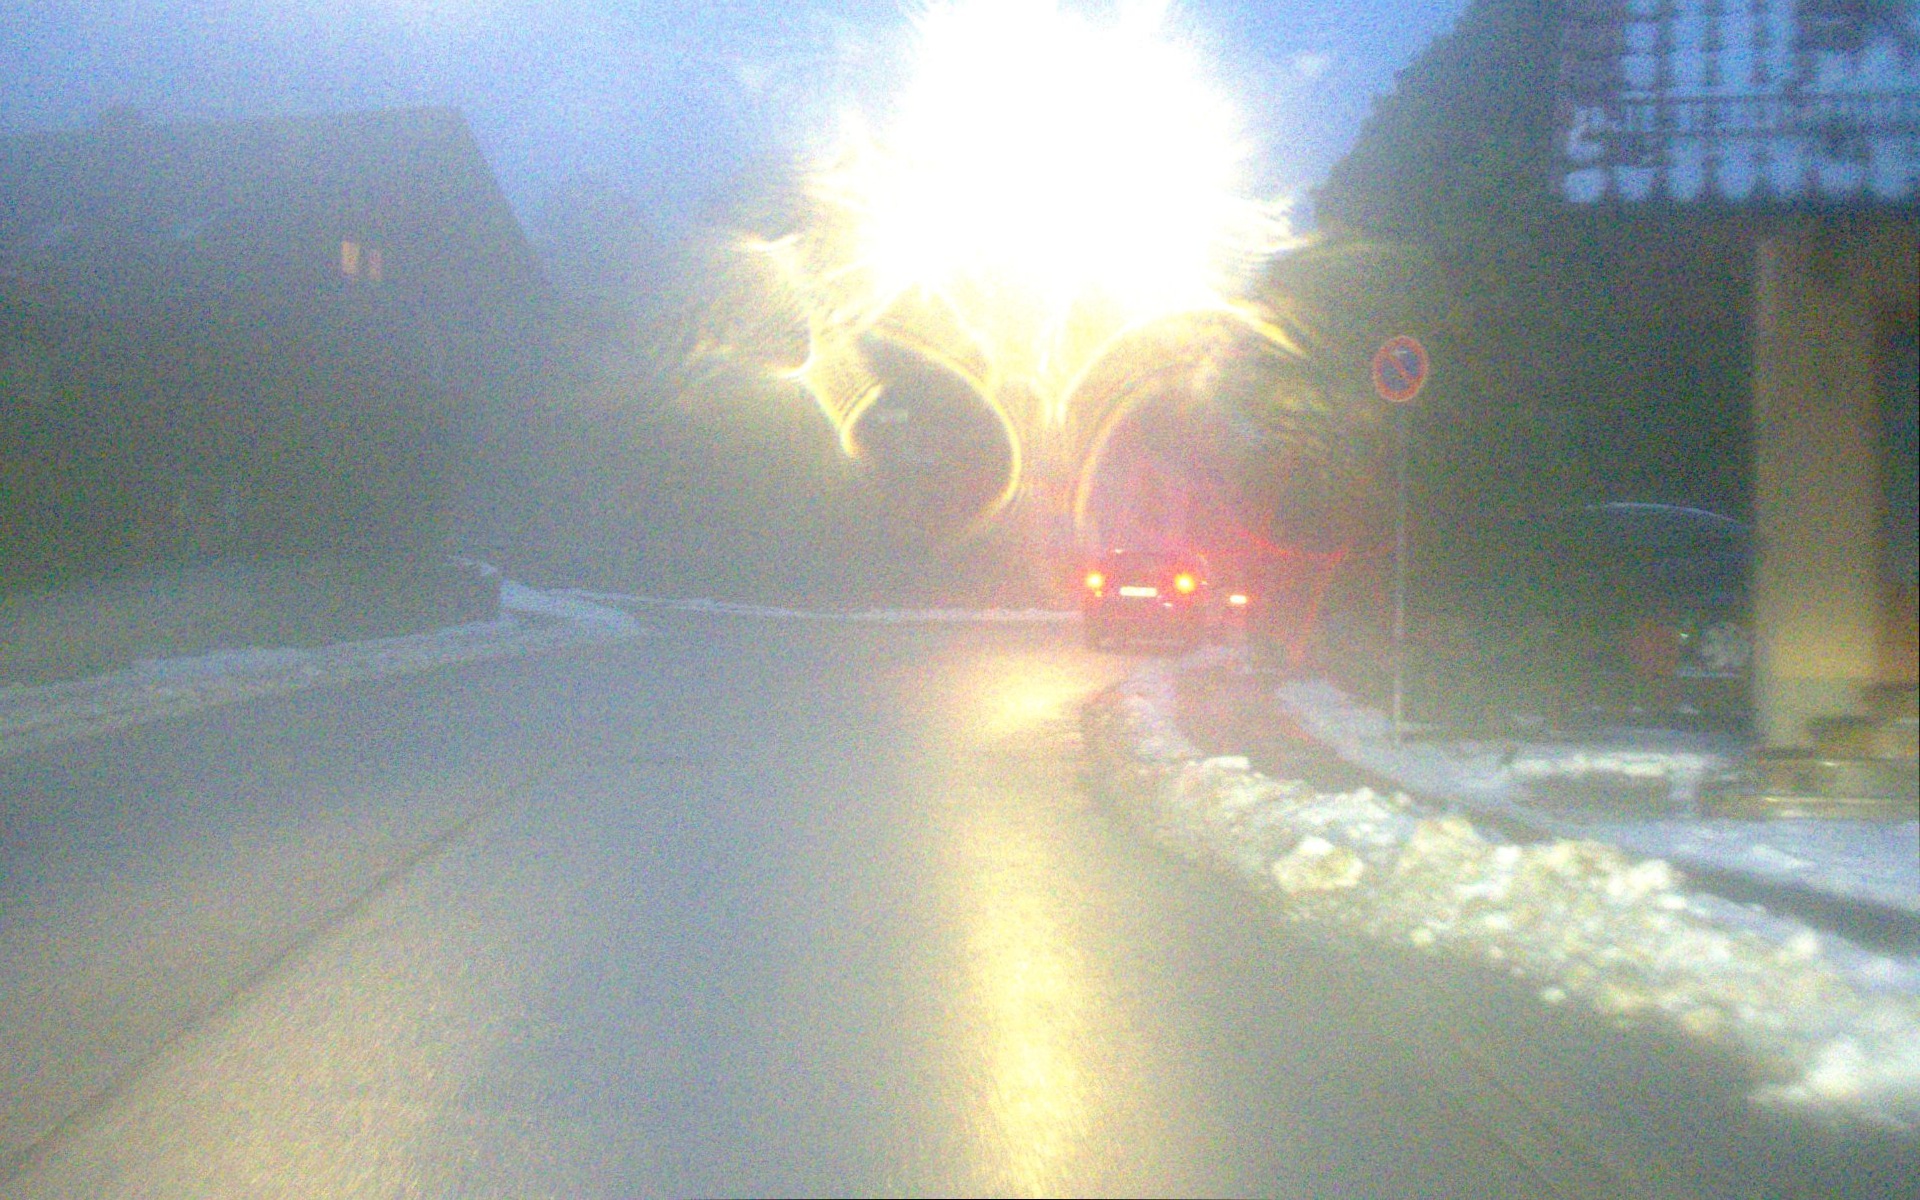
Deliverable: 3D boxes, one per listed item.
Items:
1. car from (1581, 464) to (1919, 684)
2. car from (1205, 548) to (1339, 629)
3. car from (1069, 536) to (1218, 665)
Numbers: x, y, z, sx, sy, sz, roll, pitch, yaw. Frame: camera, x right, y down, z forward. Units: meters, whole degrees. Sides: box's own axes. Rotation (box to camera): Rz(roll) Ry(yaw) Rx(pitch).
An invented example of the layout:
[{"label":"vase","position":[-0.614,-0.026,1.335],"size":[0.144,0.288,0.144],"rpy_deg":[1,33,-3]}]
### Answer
[{"label":"car","position":[7.259,-0.217,28.649],"size":[3.988,1.684,1.843],"rpy_deg":[-2,-1,9]},{"label":"car","position":[7.036,-0.236,77.200],"size":[1.995,1.645,3.995],"rpy_deg":[-1,-2,20]},{"label":"car","position":[2.727,0.042,50.311],"size":[1.994,1.731,3.877],"rpy_deg":[-1,-2,5]}]
